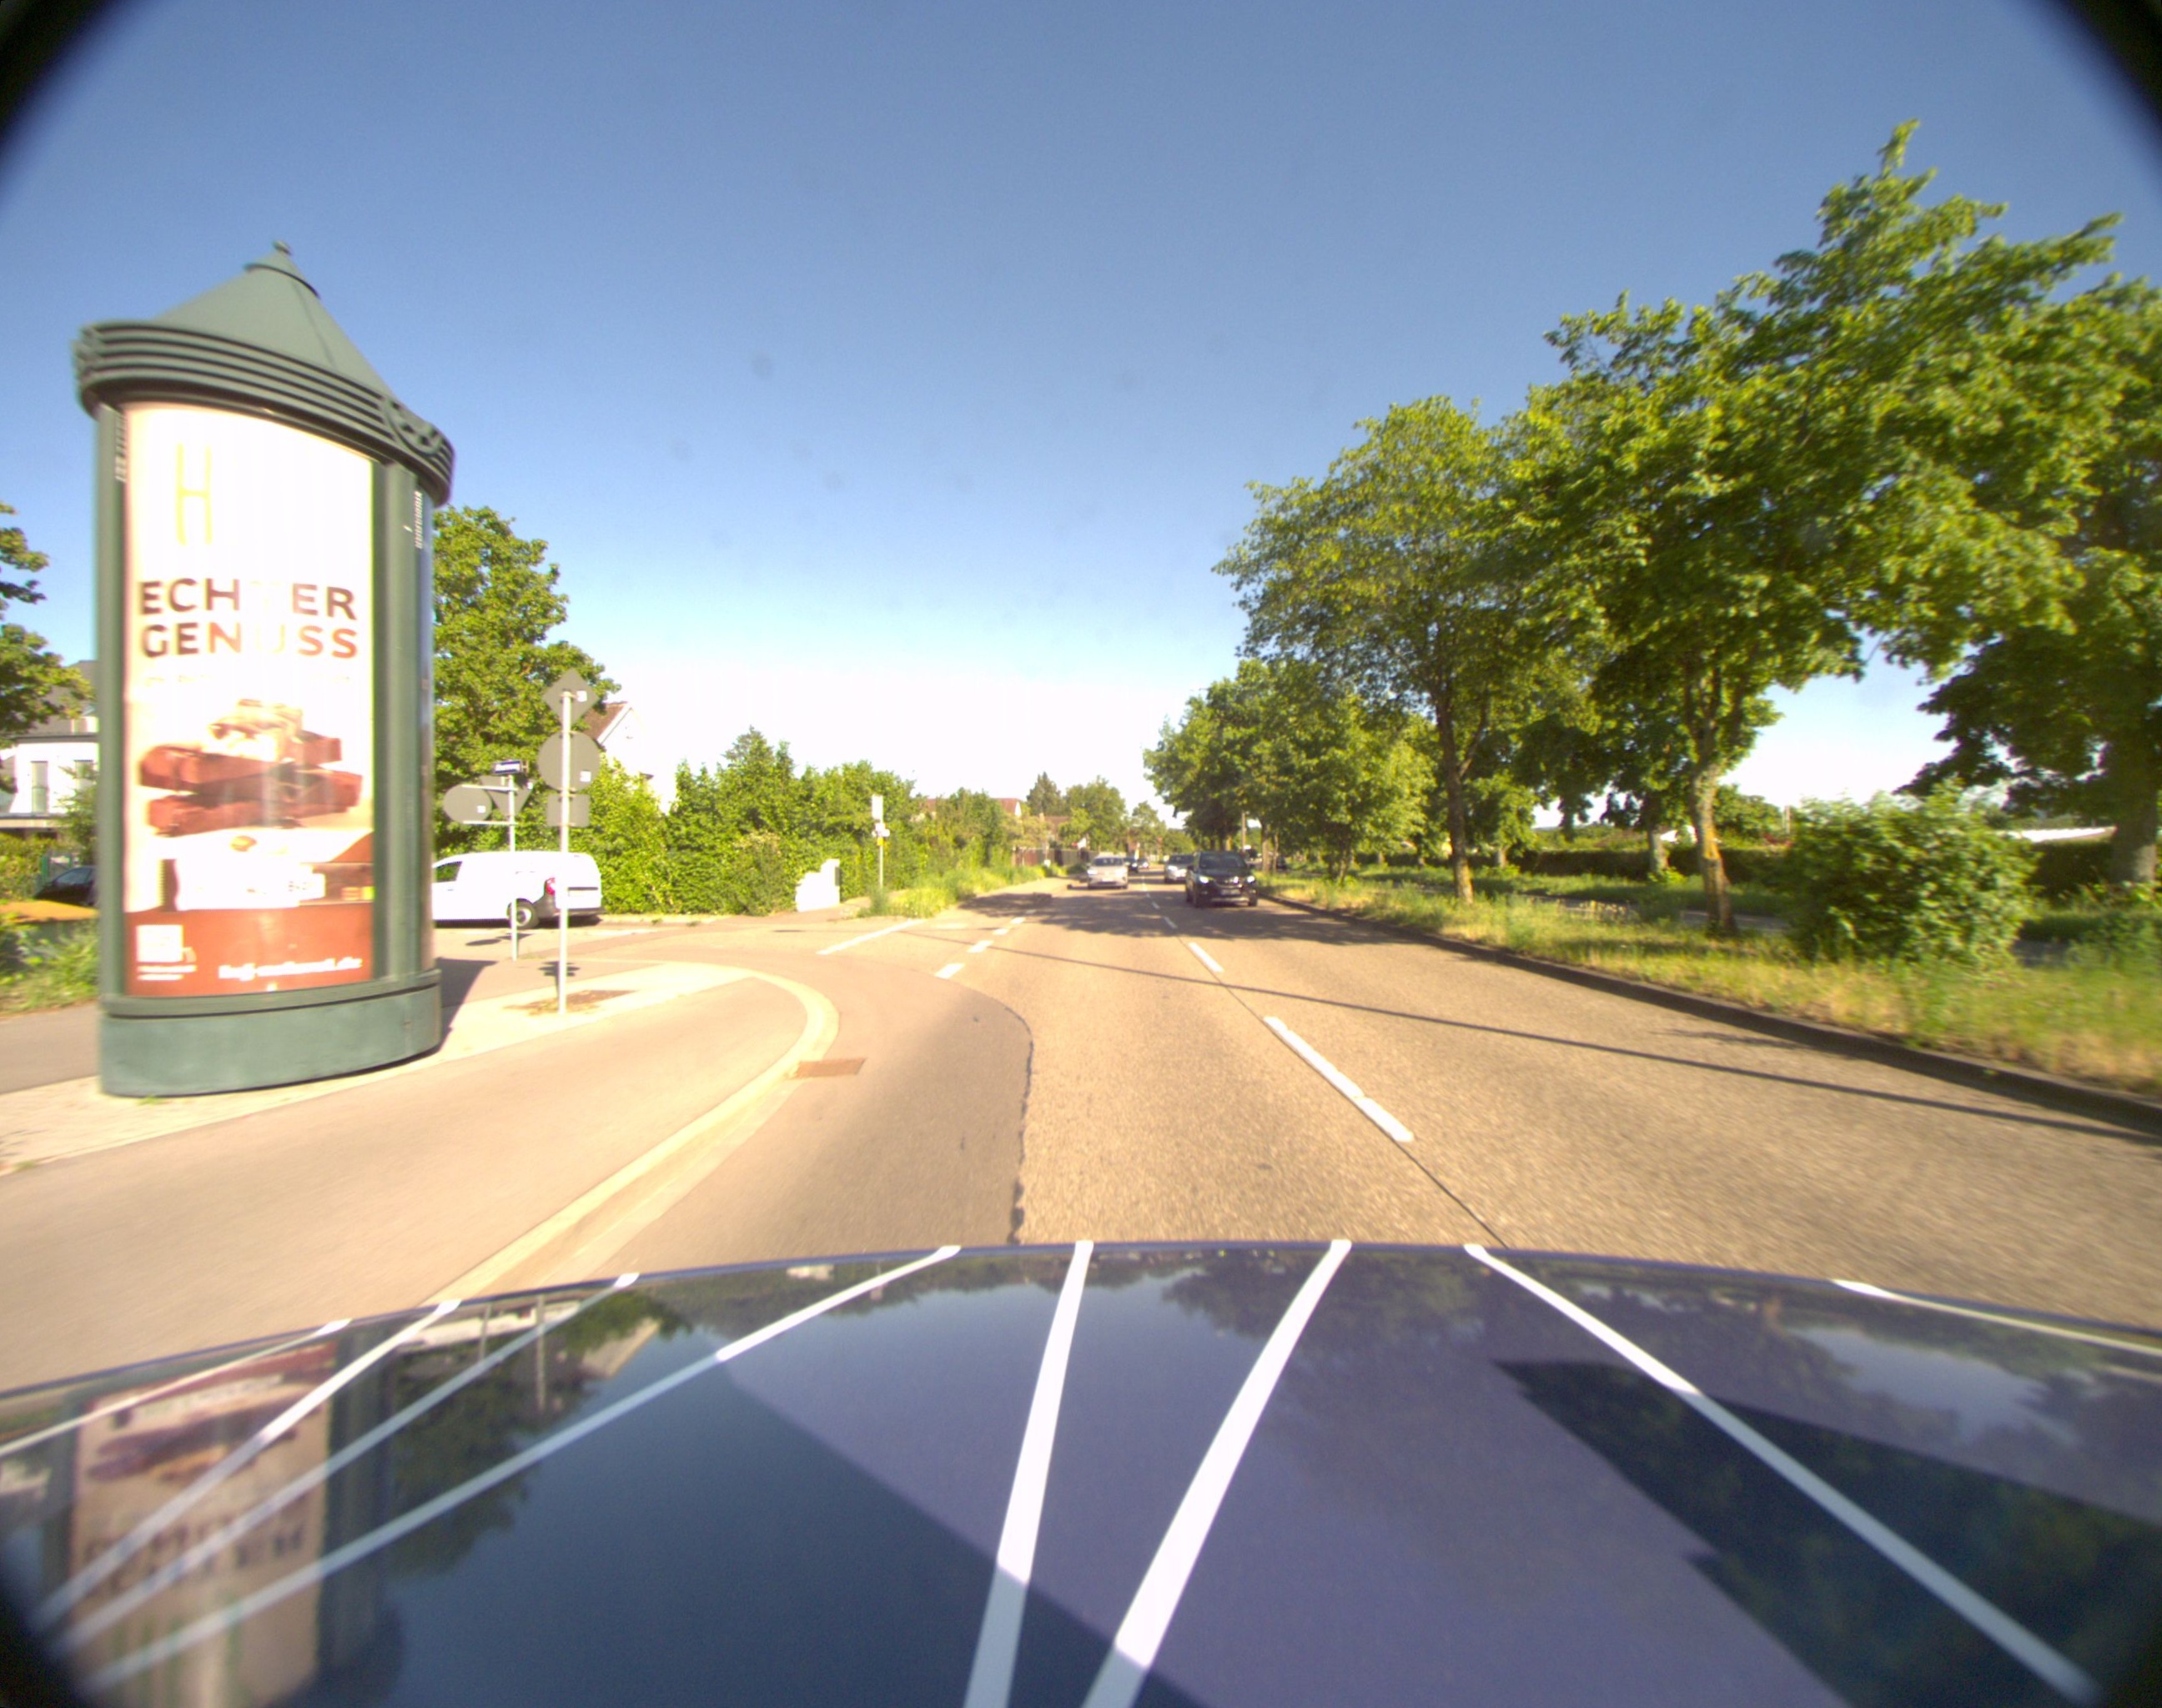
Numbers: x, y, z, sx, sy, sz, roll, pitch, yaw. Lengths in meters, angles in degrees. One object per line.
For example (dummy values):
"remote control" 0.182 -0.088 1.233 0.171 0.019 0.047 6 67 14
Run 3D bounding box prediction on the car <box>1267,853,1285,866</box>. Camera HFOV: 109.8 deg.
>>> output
"car" 22.986 0.667 89.534 1.695 1.428 4.944 2 0 11

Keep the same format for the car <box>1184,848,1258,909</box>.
"car" 4.140 0.663 23.128 1.810 1.605 4.515 -1 1 5

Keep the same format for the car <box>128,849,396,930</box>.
"car" -19.831 0.848 18.540 4.527 1.857 2.073 0 -1 5

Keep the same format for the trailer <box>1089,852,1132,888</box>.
"trailer" 1.443 0.719 36.302 1.897 1.585 4.001 -2 0 3

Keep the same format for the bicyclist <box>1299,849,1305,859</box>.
"bicyclist" 32.696 0.031 112.259 0.690 1.412 1.001 0 1 9

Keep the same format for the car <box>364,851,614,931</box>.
"car" -14.054 0.871 18.197 4.640 1.791 1.934 0 -1 5

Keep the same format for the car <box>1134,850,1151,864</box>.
"car" 7.480 0.310 92.106 1.822 1.587 4.275 -1 0 9

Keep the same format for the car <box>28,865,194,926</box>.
"car" -24.523 1.041 19.265 2.351 1.480 1.541 0 -1 5

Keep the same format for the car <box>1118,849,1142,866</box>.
"car" 4.718 0.315 72.839 1.822 1.553 4.275 -1 1 9

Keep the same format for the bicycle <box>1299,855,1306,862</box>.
"bicycle" 32.707 0.667 112.283 0.690 0.990 1.842 0 0 9

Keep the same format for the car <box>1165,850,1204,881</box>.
"car" 5.464 0.568 40.476 1.823 1.553 4.648 -1 0 5
